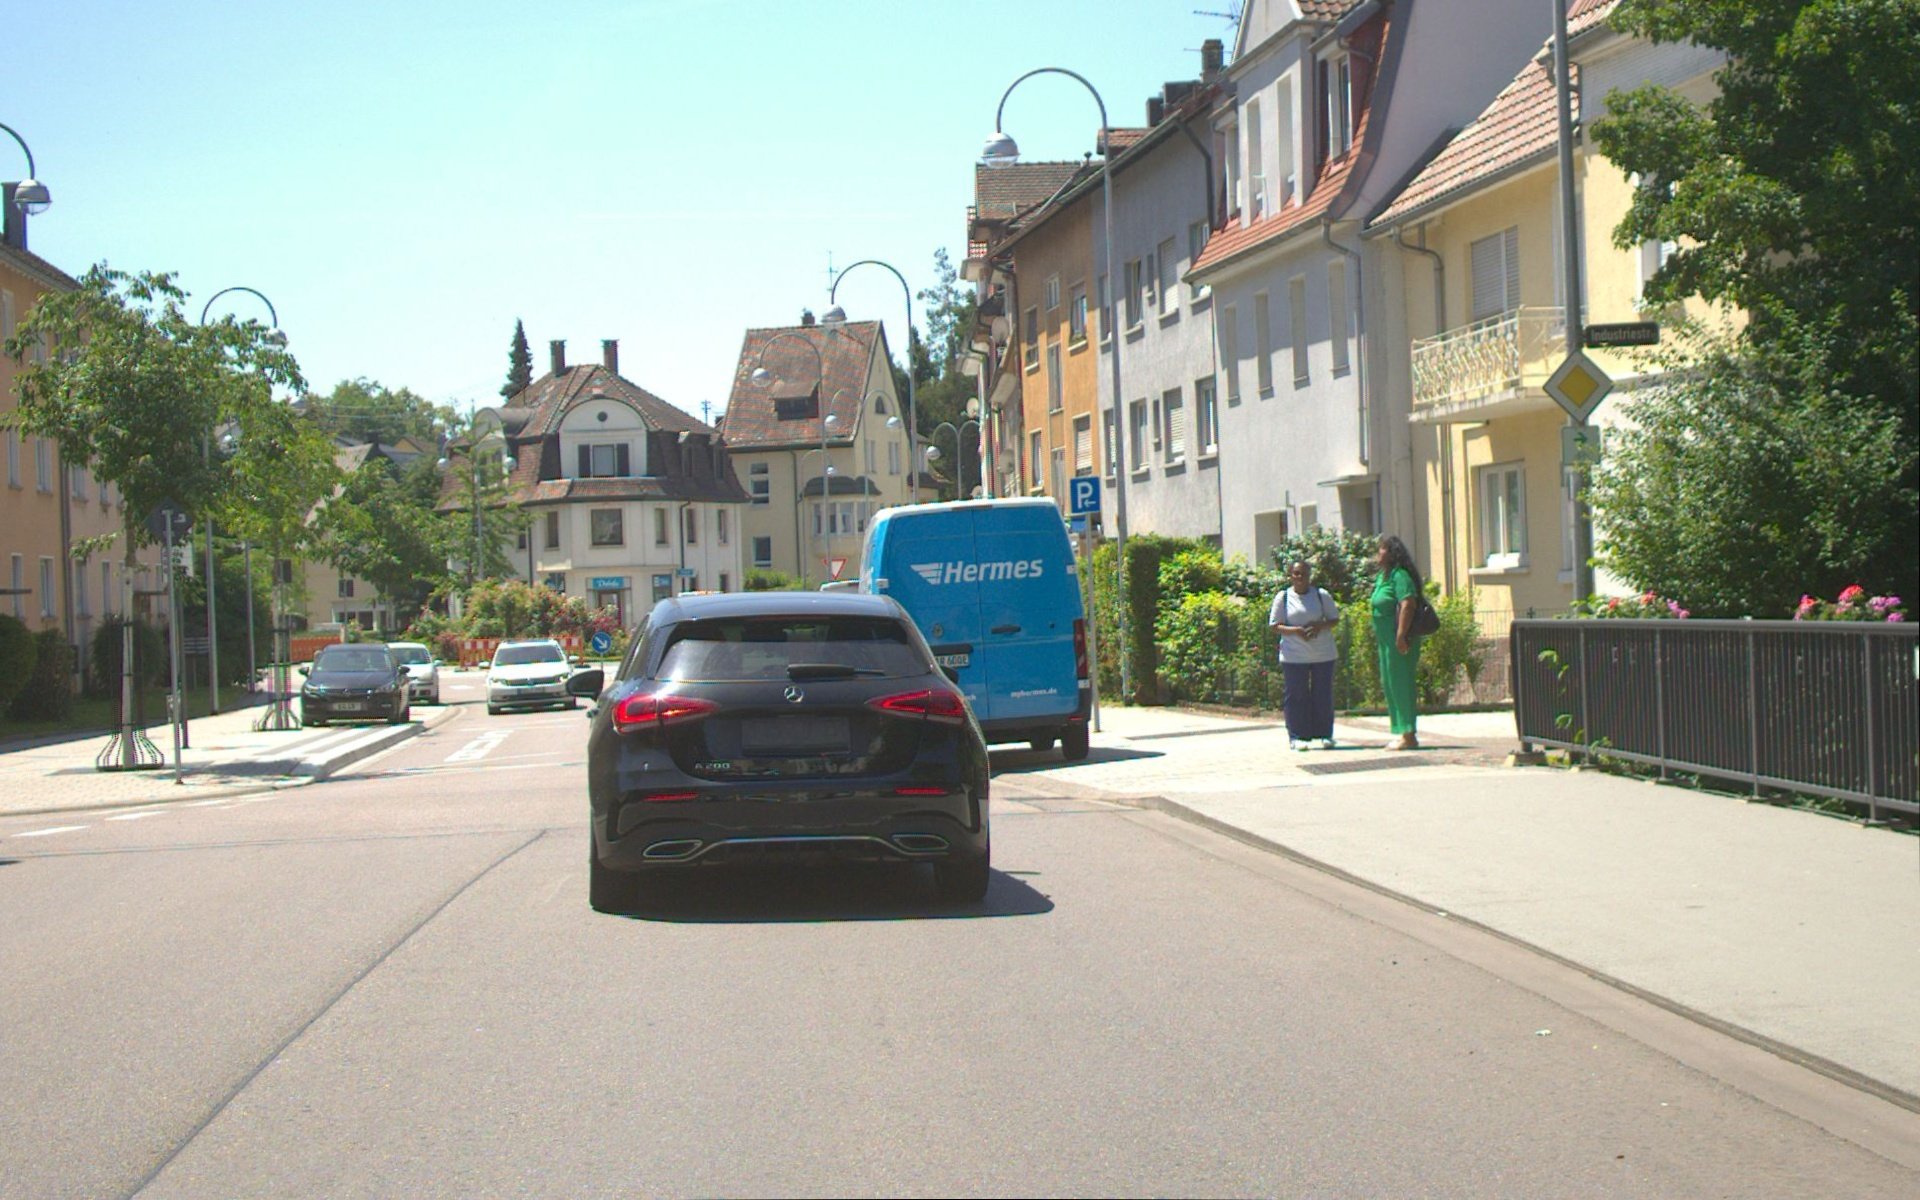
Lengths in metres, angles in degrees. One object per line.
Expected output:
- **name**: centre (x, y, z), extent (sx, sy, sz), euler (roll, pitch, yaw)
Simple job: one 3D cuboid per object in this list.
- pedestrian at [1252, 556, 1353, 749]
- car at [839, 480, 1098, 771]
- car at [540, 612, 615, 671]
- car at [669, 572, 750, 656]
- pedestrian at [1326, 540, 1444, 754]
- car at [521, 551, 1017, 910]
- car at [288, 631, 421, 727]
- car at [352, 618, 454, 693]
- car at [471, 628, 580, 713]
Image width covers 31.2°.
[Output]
- **pedestrian**: centre (2.927, 0.439, 29.466), extent (0.613, 1.607, 0.838), euler (-2, 0, -9)
- **car**: centre (-0.004, 0.218, 33.212), extent (2.132, 2.533, 4.650), euler (-2, 0, -3)
- **car**: centre (-11.180, 1.207, 100.617), extent (1.993, 1.654, 4.001), euler (0, 0, -4)
- **car**: centre (-7.367, 0.376, 101.184), extent (2.244, 2.335, 4.853), euler (-2, 1, -4)
- **pedestrian**: centre (3.526, 0.387, 28.569), extent (0.660, 1.735, 0.702), euler (-2, 0, -21)
- **car**: centre (-1.055, 0.645, 16.605), extent (1.827, 1.437, 4.000), euler (-3, -2, -11)
- **car**: centre (-11.131, 1.422, 63.430), extent (1.993, 1.654, 4.001), euler (0, 0, -4)
- **car**: centre (-12.967, 1.274, 80.209), extent (1.993, 1.654, 4.001), euler (0, 0, -4)
- **car**: centre (-8.892, 1.420, 70.587), extent (1.993, 1.654, 4.001), euler (0, 0, -4)
